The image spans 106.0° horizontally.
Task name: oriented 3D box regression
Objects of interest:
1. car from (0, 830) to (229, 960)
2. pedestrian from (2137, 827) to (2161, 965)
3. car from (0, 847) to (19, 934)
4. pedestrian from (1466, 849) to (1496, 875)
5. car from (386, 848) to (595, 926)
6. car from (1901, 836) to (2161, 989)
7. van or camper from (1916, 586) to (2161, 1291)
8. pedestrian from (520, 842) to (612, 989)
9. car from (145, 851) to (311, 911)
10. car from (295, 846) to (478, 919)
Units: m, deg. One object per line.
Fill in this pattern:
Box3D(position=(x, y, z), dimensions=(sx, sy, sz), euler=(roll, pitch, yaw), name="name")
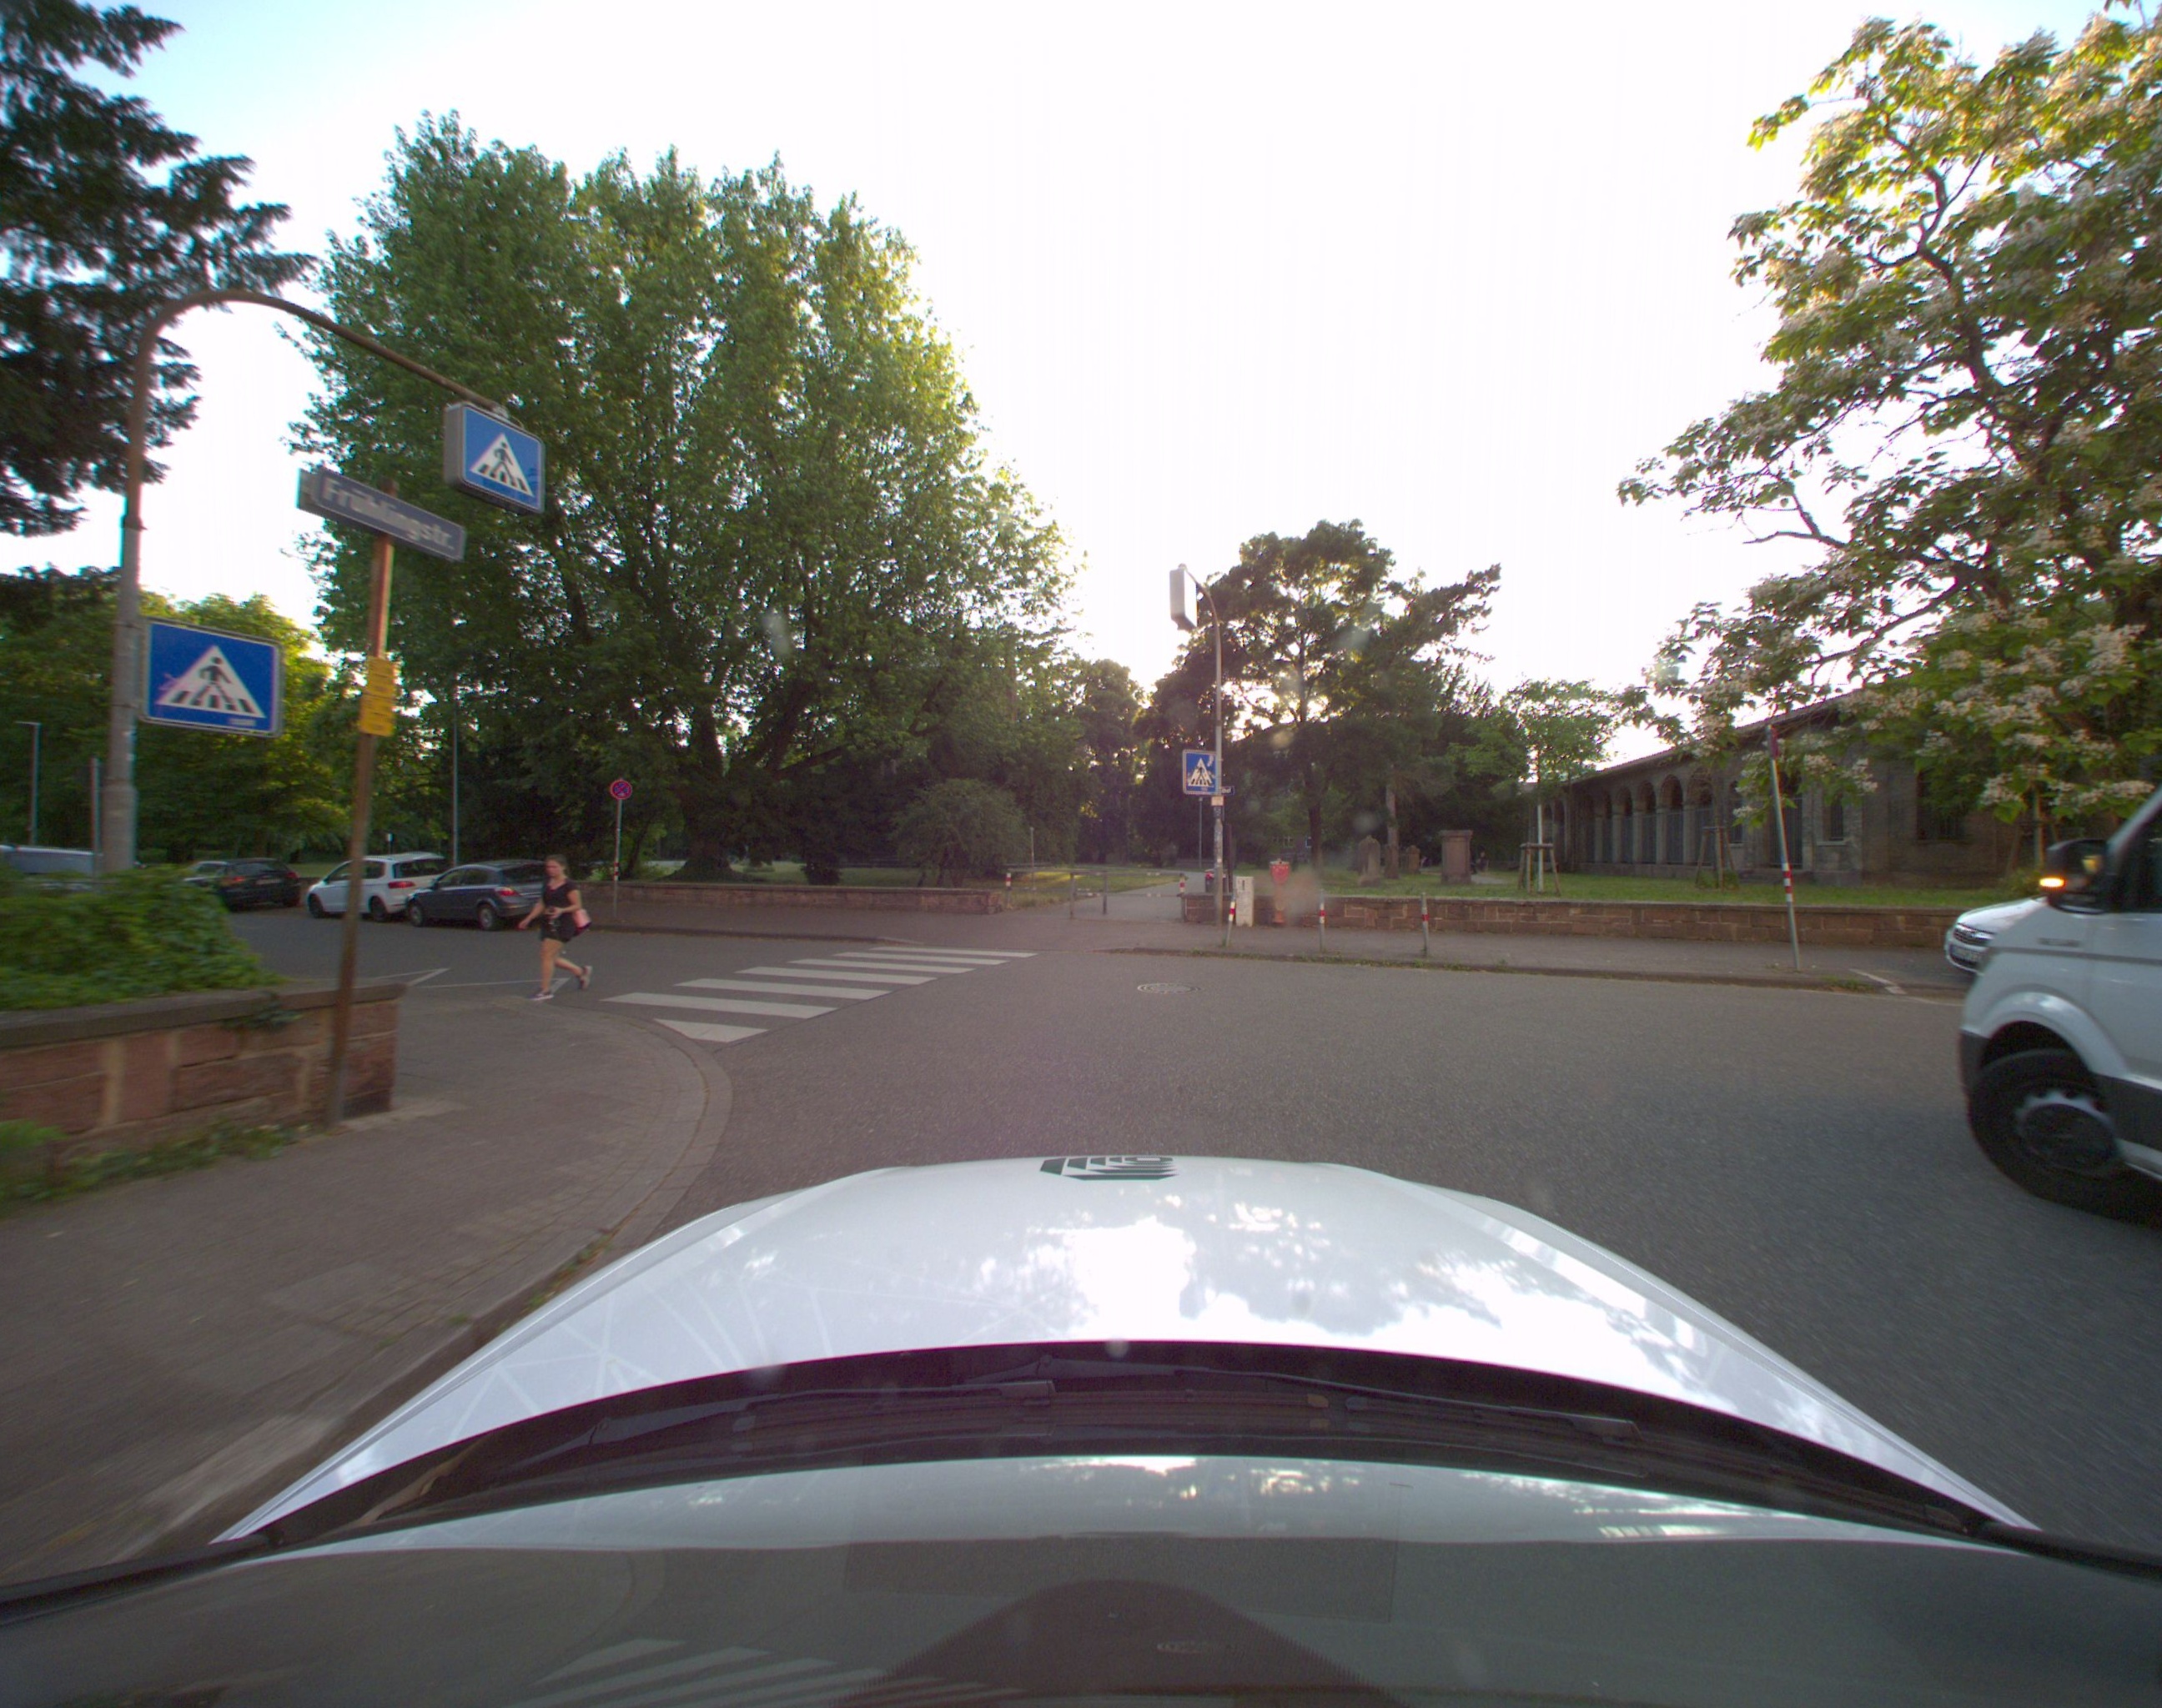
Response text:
Box3D(position=(-15.902, 0.637, 12.814), dimensions=(4.192, 1.799, 1.832), euler=(-1, -4, 20), name="car")
Box3D(position=(14.486, 0.562, 10.627), dimensions=(0.588, 1.809, 0.624), euler=(1, 0, 20), name="pedestrian")
Box3D(position=(-21.489, 0.637, 14.540), dimensions=(4.192, 1.545, 1.832), euler=(-1, -4, 20), name="car")
Box3D(position=(22.173, 0.447, 45.166), dimensions=(1.317, 1.444, 1.051), euler=(0, 0, 18), name="pedestrian")
Box3D(position=(-13.525, 0.738, 18.714), dimensions=(3.821, 1.491, 1.832), euler=(-1, 5, 18), name="car")
Box3D(position=(12.243, 0.620, 9.134), dimensions=(3.825, 1.574, 1.967), euler=(1, 0, 17), name="car")
Box3D(position=(4.318, 0.299, 1.122), dimensions=(1.976, 2.618, 6.436), euler=(1, 0, 22), name="van or camper")
Box3D(position=(-5.996, 0.693, 9.515), dimensions=(0.646, 1.648, 0.672), euler=(2, 1, -9), name="pedestrian")
Box3D(position=(-24.280, 0.735, 23.191), dimensions=(3.836, 1.439, 1.834), euler=(-1, 6, 22), name="car")
Box3D(position=(-17.745, 0.688, 20.829), dimensions=(3.836, 1.562, 1.834), euler=(-1, 6, 22), name="car")
